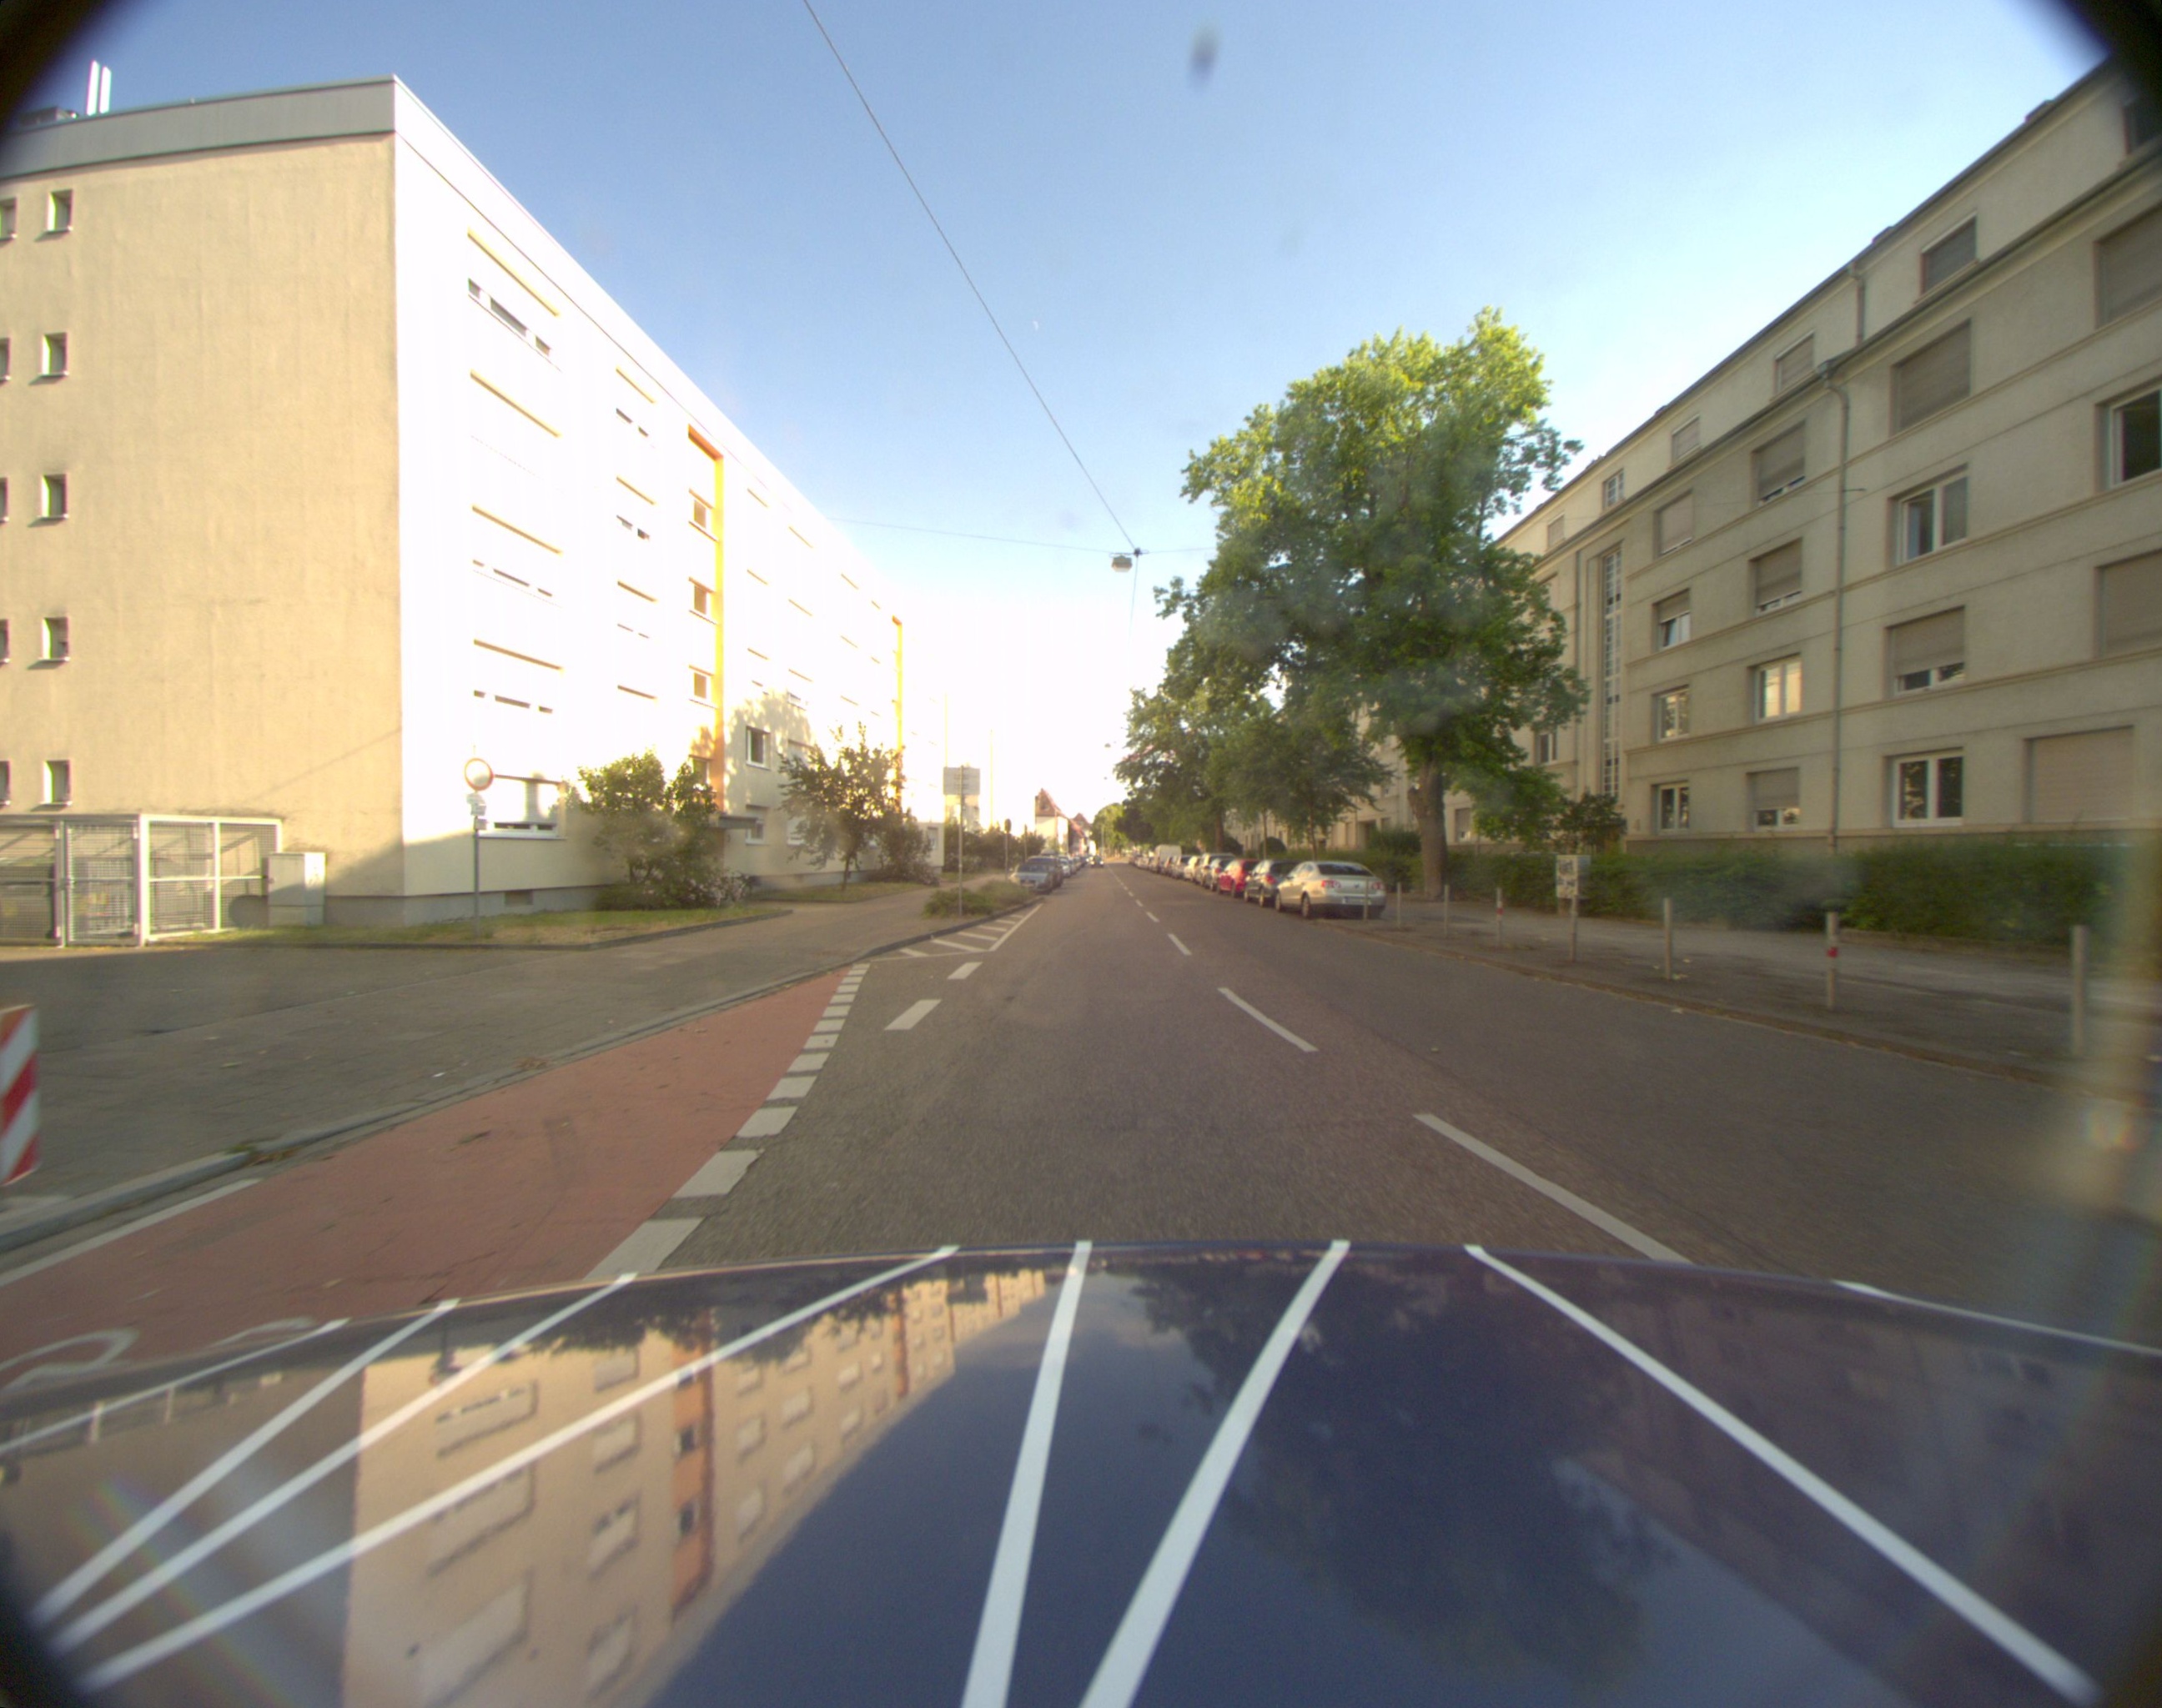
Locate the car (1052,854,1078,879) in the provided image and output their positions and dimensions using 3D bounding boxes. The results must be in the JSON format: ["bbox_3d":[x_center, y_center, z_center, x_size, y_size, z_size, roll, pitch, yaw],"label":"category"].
[{"bbox_3d":[-1.030,0.831,50.965,1.610,1.486,4.041,0,1,1],"label":"car"}]

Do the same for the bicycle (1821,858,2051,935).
[{"bbox_3d":[14.147,0.683,12.617,3.088,1.118,0.760,-2,2,-2],"label":"bicycle"}]

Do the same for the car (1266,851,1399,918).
[{"bbox_3d":[6.317,0.679,19.691,1.774,1.345,4.709,3,1,-1],"label":"car"}]

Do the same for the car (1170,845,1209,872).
[{"bbox_3d":[7.181,0.277,50.642,1.875,1.549,5.057,4,0,1],"label":"car"}]

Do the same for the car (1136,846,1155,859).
[{"bbox_3d":[8.303,-0.214,98.596,2.009,1.543,4.470,-2,1,0],"label":"car"}]

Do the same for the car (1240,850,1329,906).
[{"bbox_3d":[6.387,0.698,24.340,1.708,1.431,4.128,6,2,1],"label":"car"}]

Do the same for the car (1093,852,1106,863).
[{"bbox_3d":[2.485,0.512,102.672,1.775,1.492,3.673,0,0,0],"label":"car"}]

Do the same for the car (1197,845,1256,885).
[{"bbox_3d":[6.516,0.450,34.405,1.875,1.549,4.496,-2,2,1],"label":"car"}]

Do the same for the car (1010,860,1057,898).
[{"bbox_3d":[-2.085,1.083,34.097,1.745,1.465,3.999,-1,1,1],"label":"car"}]

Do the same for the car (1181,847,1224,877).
[{"bbox_3d":[7.151,0.460,44.958,1.875,1.549,4.101,3,0,1],"label":"car"}]

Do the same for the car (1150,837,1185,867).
[{"bbox_3d":[7.565,-0.240,66.827,2.364,2.432,6.163,-4,1,1],"label":"car"}]

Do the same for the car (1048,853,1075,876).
[{"bbox_3d":[-1.457,0.752,57.599,1.683,1.407,4.723,7,2,1],"label":"car"}]

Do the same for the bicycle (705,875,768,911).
[{"bbox_3d":[-9.490,1.054,21.023,0.638,0.920,2.230,-2,-1,1],"label":"bicycle"}]

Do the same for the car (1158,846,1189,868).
[{"bbox_3d":[7.352,0.217,60.699,1.962,1.549,4.345,1,1,1],"label":"car"}]

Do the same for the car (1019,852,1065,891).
[{"bbox_3d":[-1.934,0.842,39.092,1.932,1.649,4.676,-4,1,1],"label":"car"}]

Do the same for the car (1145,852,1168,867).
[{"bbox_3d":[8.267,0.599,83.772,1.878,1.348,4.652,-4,1,-1],"label":"car"}]

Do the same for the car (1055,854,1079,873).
[{"bbox_3d":[-1.237,0.804,68.698,1.841,1.493,4.172,2,2,2],"label":"car"}]

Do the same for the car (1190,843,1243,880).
[{"bbox_3d":[6.947,0.319,39.334,1.921,1.668,4.973,-2,1,1],"label":"car"}]

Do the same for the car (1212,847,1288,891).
[{"bbox_3d":[6.436,0.524,29.323,1.876,1.549,3.998,-1,1,-3],"label":"car"}]

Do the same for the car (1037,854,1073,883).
[{"bbox_3d":[-1.492,0.803,45.505,1.902,1.641,4.343,0,0,1],"label":"car"}]
